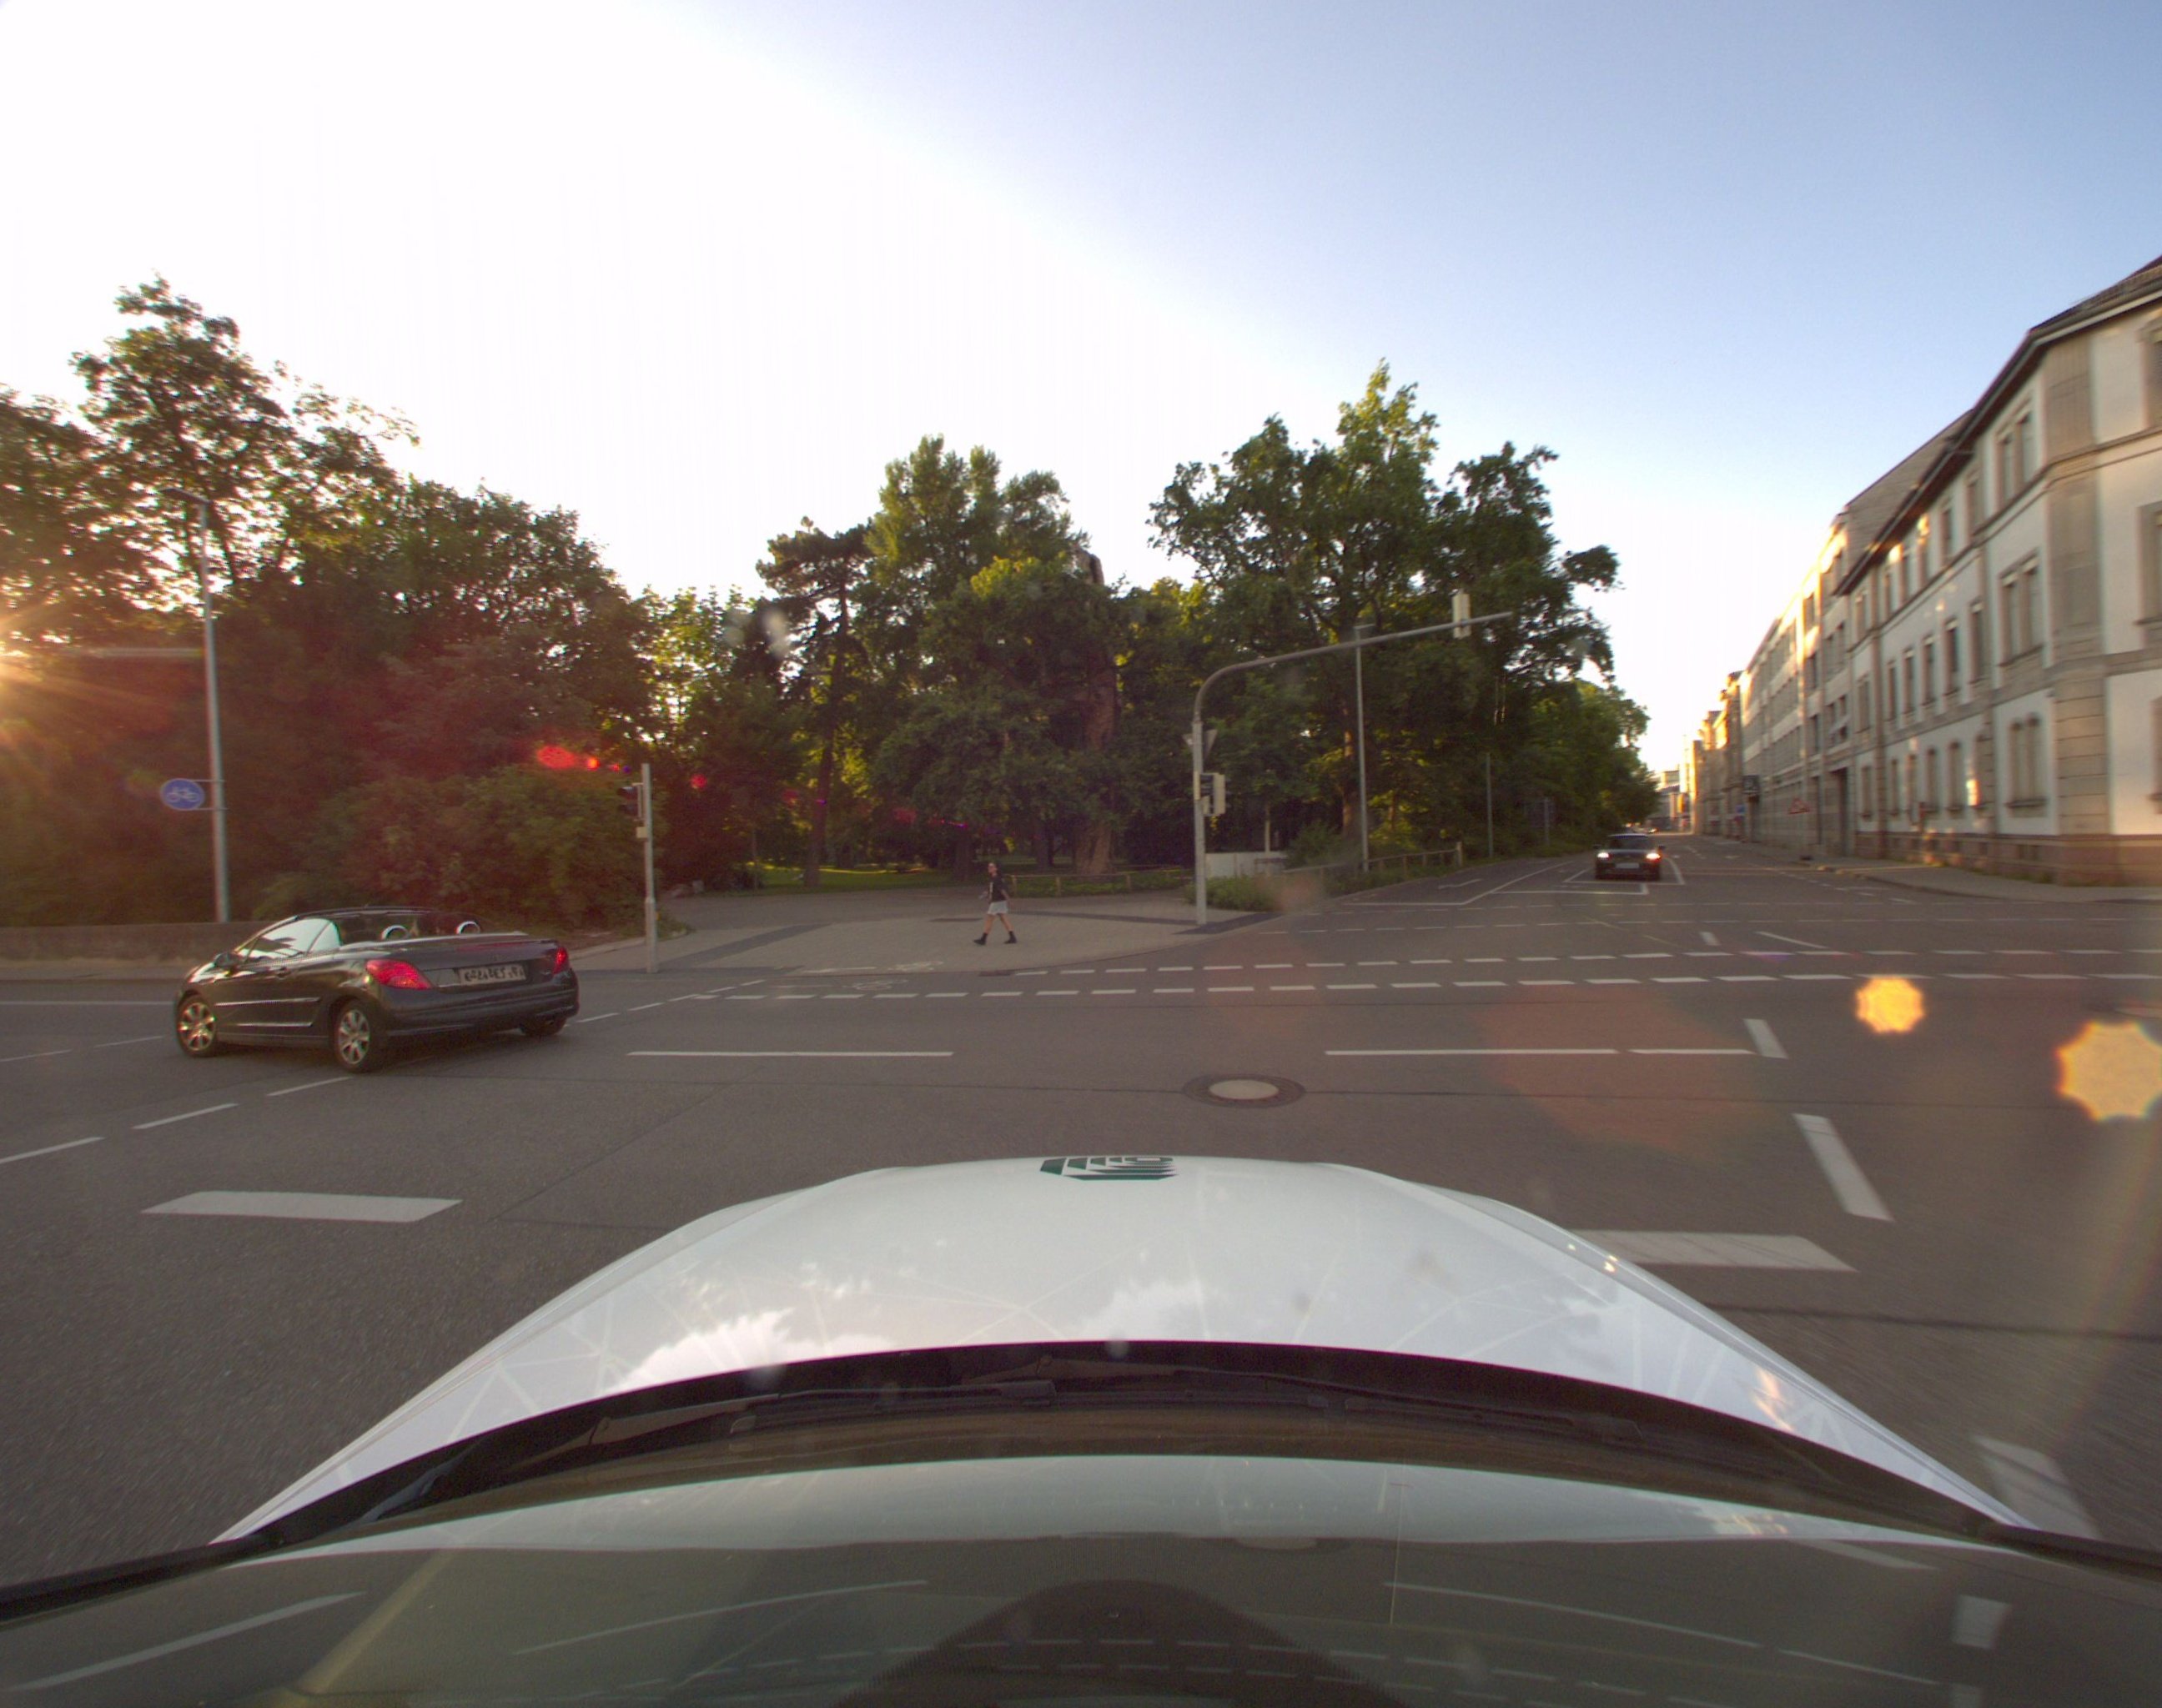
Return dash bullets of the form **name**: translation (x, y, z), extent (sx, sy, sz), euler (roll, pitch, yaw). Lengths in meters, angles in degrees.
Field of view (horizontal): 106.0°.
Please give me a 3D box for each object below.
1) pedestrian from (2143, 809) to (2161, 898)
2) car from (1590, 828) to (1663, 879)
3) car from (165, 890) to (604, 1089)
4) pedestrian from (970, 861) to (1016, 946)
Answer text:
- **pedestrian**: translation (20.364, -0.019, 14.960), extent (0.634, 1.656, 0.816), euler (-2, 0, -10)
- **car**: translation (17.622, -0.068, 26.259), extent (1.806, 1.516, 3.599), euler (0, 1, 36)
- **car**: translation (-6.821, 1.166, 7.972), extent (3.853, 1.449, 1.734), euler (-2, 0, 24)
- **pedestrian**: translation (-1.618, 0.904, 15.068), extent (0.612, 1.503, 0.583), euler (-2, 2, 15)
